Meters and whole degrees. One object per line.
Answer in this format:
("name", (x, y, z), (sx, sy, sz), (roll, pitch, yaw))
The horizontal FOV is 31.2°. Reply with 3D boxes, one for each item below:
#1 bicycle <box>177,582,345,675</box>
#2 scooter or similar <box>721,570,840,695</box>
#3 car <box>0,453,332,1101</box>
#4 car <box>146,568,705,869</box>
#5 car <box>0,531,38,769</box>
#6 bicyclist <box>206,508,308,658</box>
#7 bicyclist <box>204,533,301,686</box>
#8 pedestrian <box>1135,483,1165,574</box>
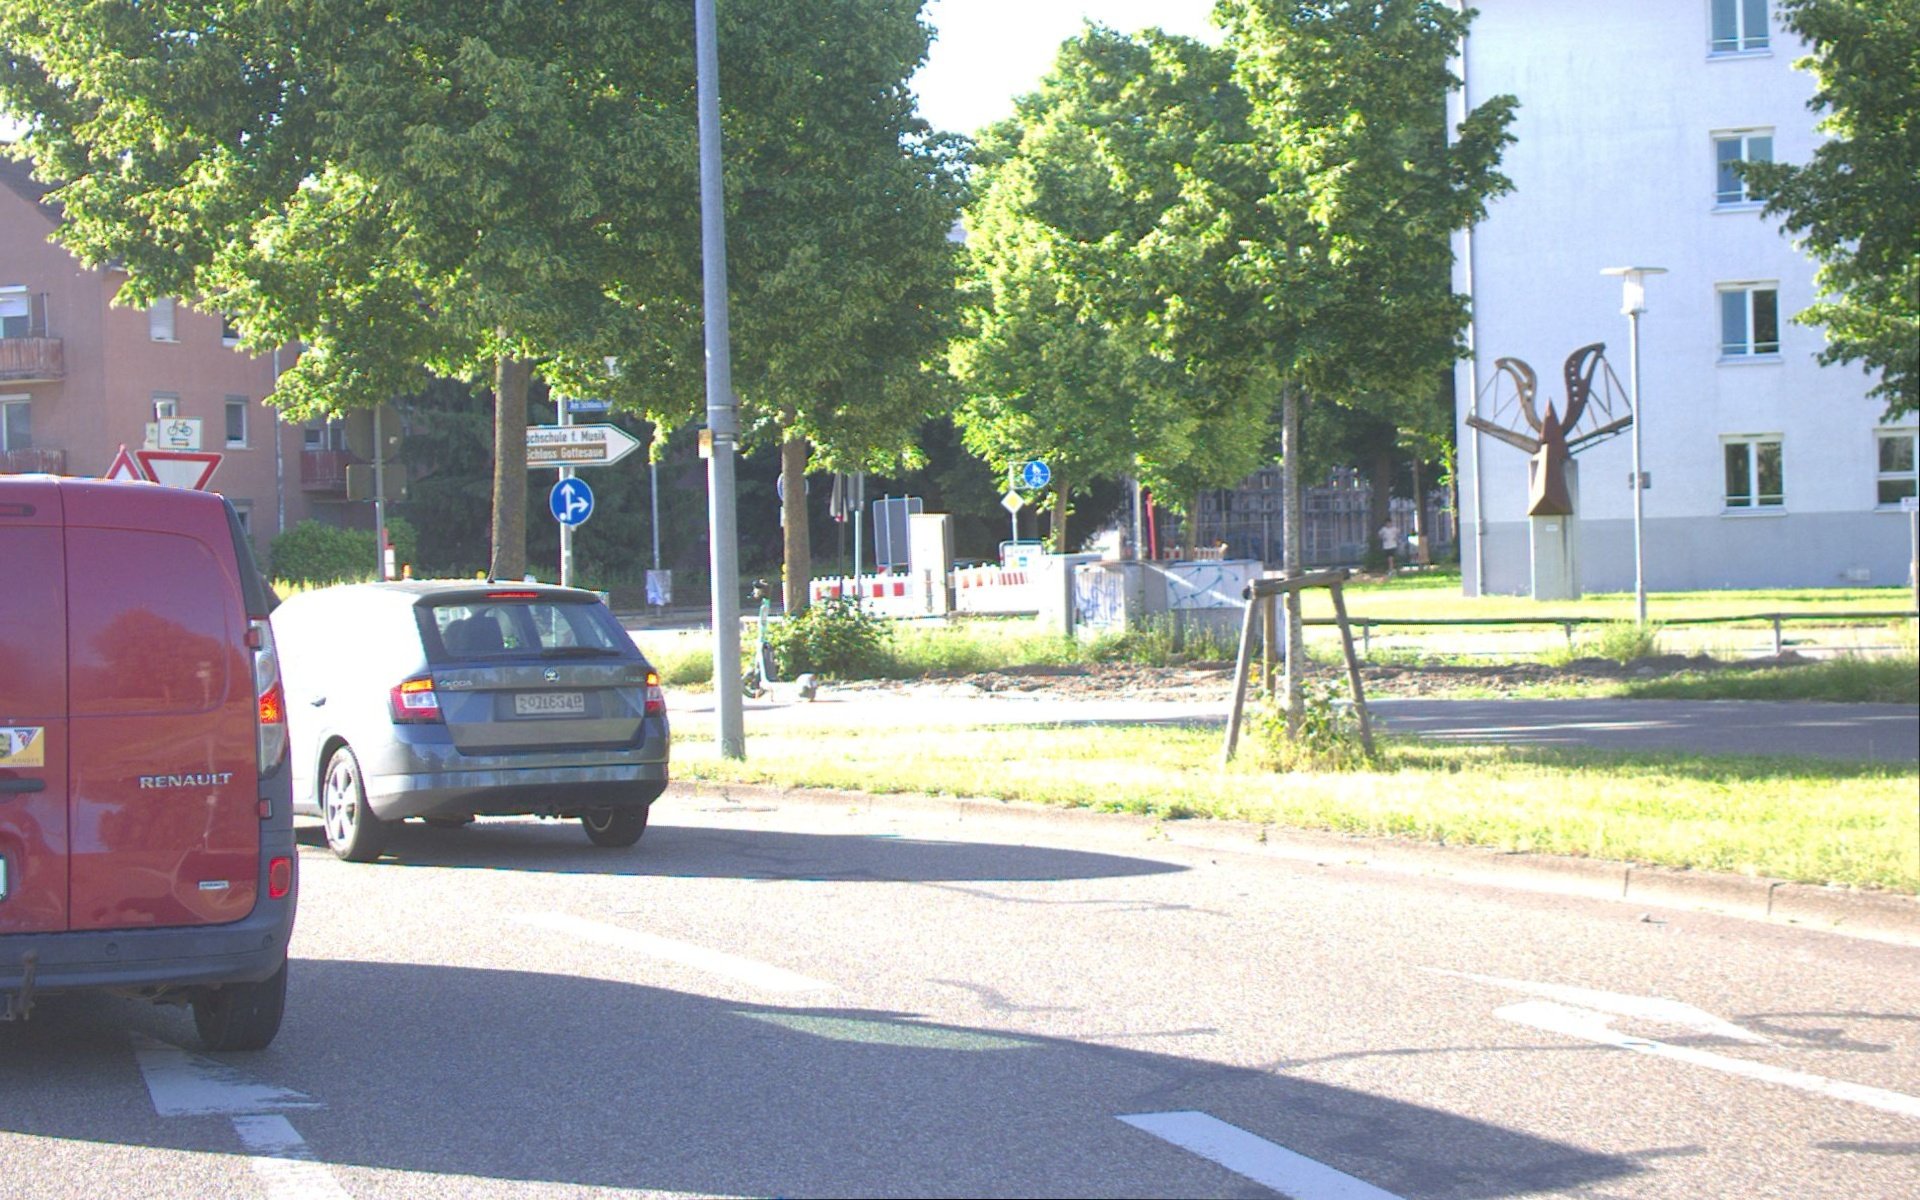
("bicycle", (-7.823, 0.319, 38.472), (1.820, 1.024, 0.659), (-1, 0, 27))
("scooter or similar", (-1.832, 0.338, 34.995), (1.264, 1.243, 0.443), (-2, -1, 43))
("car", (-3.399, 0.469, 11.358), (1.802, 1.807, 3.810), (-1, 1, -23))
("car", (-3.055, 0.577, 18.925), (1.714, 1.431, 4.152), (-1, 0, -29))
("car", (-9.352, 0.426, 29.223), (1.996, 1.890, 4.753), (-2, 1, -26))
("bicyclist", (-7.869, -0.189, 38.493), (0.898, 1.659, 0.659), (-1, 0, 27))
("bicyclist", (-8.156, 0.103, 39.631), (0.811, 1.724, 0.654), (-2, 0, 23))
("pedestrian", (4.205, -1.589, 76.110), (0.471, 2.007, 0.454), (-1, 1, 30))
